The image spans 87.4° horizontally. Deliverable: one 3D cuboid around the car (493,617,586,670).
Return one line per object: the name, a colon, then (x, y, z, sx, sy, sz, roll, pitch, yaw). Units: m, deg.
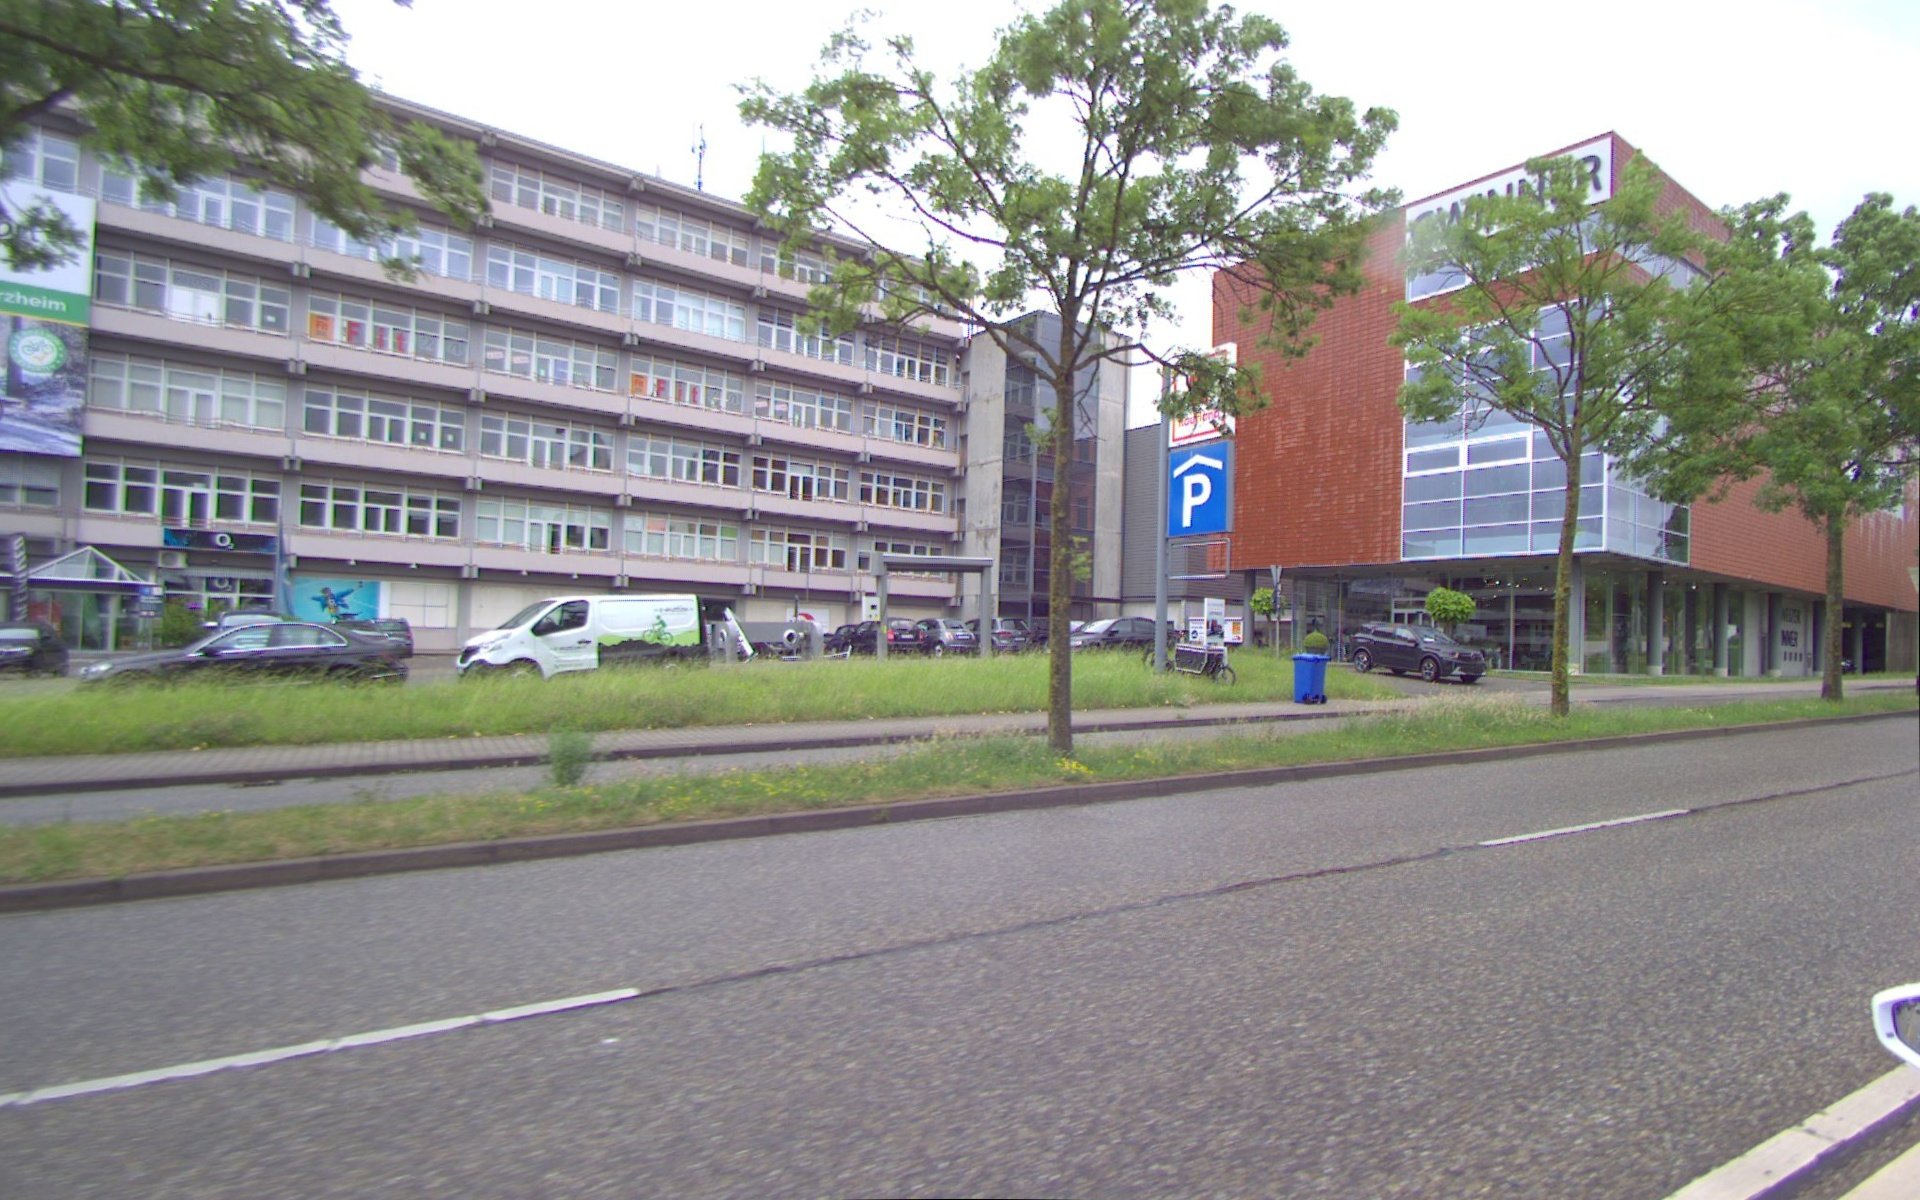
car: (-14.145, 1.405, 33.648, 1.831, 1.530, 4.242, 0, 1, -38)

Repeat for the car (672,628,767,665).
car: (-11.126, 2.133, 46.563, 3.962, 1.530, 1.781, 0, 1, -37)

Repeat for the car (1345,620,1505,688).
car: (14.074, 1.595, 30.695, 1.776, 1.705, 4.256, 2, 1, -25)

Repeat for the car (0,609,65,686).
car: (-24.348, 1.162, 25.688, 1.883, 1.769, 4.464, 0, 1, -38)

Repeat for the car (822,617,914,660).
car: (-3.789, 1.519, 40.741, 1.803, 1.530, 4.077, 0, 1, -38)

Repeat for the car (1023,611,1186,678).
car: (4.330, 1.252, 29.915, 4.558, 1.797, 2.125, 0, 1, -33)

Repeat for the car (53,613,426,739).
car: (-11.931, 1.155, 17.076, 4.894, 1.786, 2.027, 0, 1, -34)

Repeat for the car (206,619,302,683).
car: (-20.074, 1.376, 28.486, 2.007, 1.530, 4.574, 0, 1, -38)

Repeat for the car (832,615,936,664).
car: (-2.777, 1.361, 35.948, 1.803, 1.530, 4.077, 0, 1, -38)

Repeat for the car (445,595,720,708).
car: (-7.871, 0.954, 21.265, 5.079, 2.124, 2.096, 0, 1, -40)

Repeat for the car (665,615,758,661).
car: (-9.301, 1.357, 37.375, 1.831, 1.530, 4.242, 0, 1, -38)

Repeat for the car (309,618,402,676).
car: (-18.320, 1.352, 30.361, 1.929, 1.530, 4.145, 0, 1, -38)

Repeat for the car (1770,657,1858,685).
car: (48.829, 4.030, 57.516, 1.501, 1.301, 3.523, 2, 0, -27)

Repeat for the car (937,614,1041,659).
car: (1.057, 1.357, 38.497, 1.803, 1.530, 4.158, 0, 1, -38)

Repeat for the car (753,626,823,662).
car: (-8.811, 2.222, 51.336, 1.803, 1.594, 4.158, 0, 1, -38)

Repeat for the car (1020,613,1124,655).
car: (4.526, 1.355, 41.141, 1.884, 1.530, 4.158, 0, 1, -38)

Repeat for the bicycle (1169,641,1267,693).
bicycle: (5.970, 1.549, 23.393, 1.079, 0.948, 2.069, 2, 3, -26)

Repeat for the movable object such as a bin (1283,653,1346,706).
movable object such as a bin: (7.862, 1.752, 22.257, 1.073, 1.093, 0.815, 1, 0, -30)

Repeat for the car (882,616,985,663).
car: (-1.043, 1.408, 37.281, 1.803, 1.530, 4.077, 0, 1, -38)
